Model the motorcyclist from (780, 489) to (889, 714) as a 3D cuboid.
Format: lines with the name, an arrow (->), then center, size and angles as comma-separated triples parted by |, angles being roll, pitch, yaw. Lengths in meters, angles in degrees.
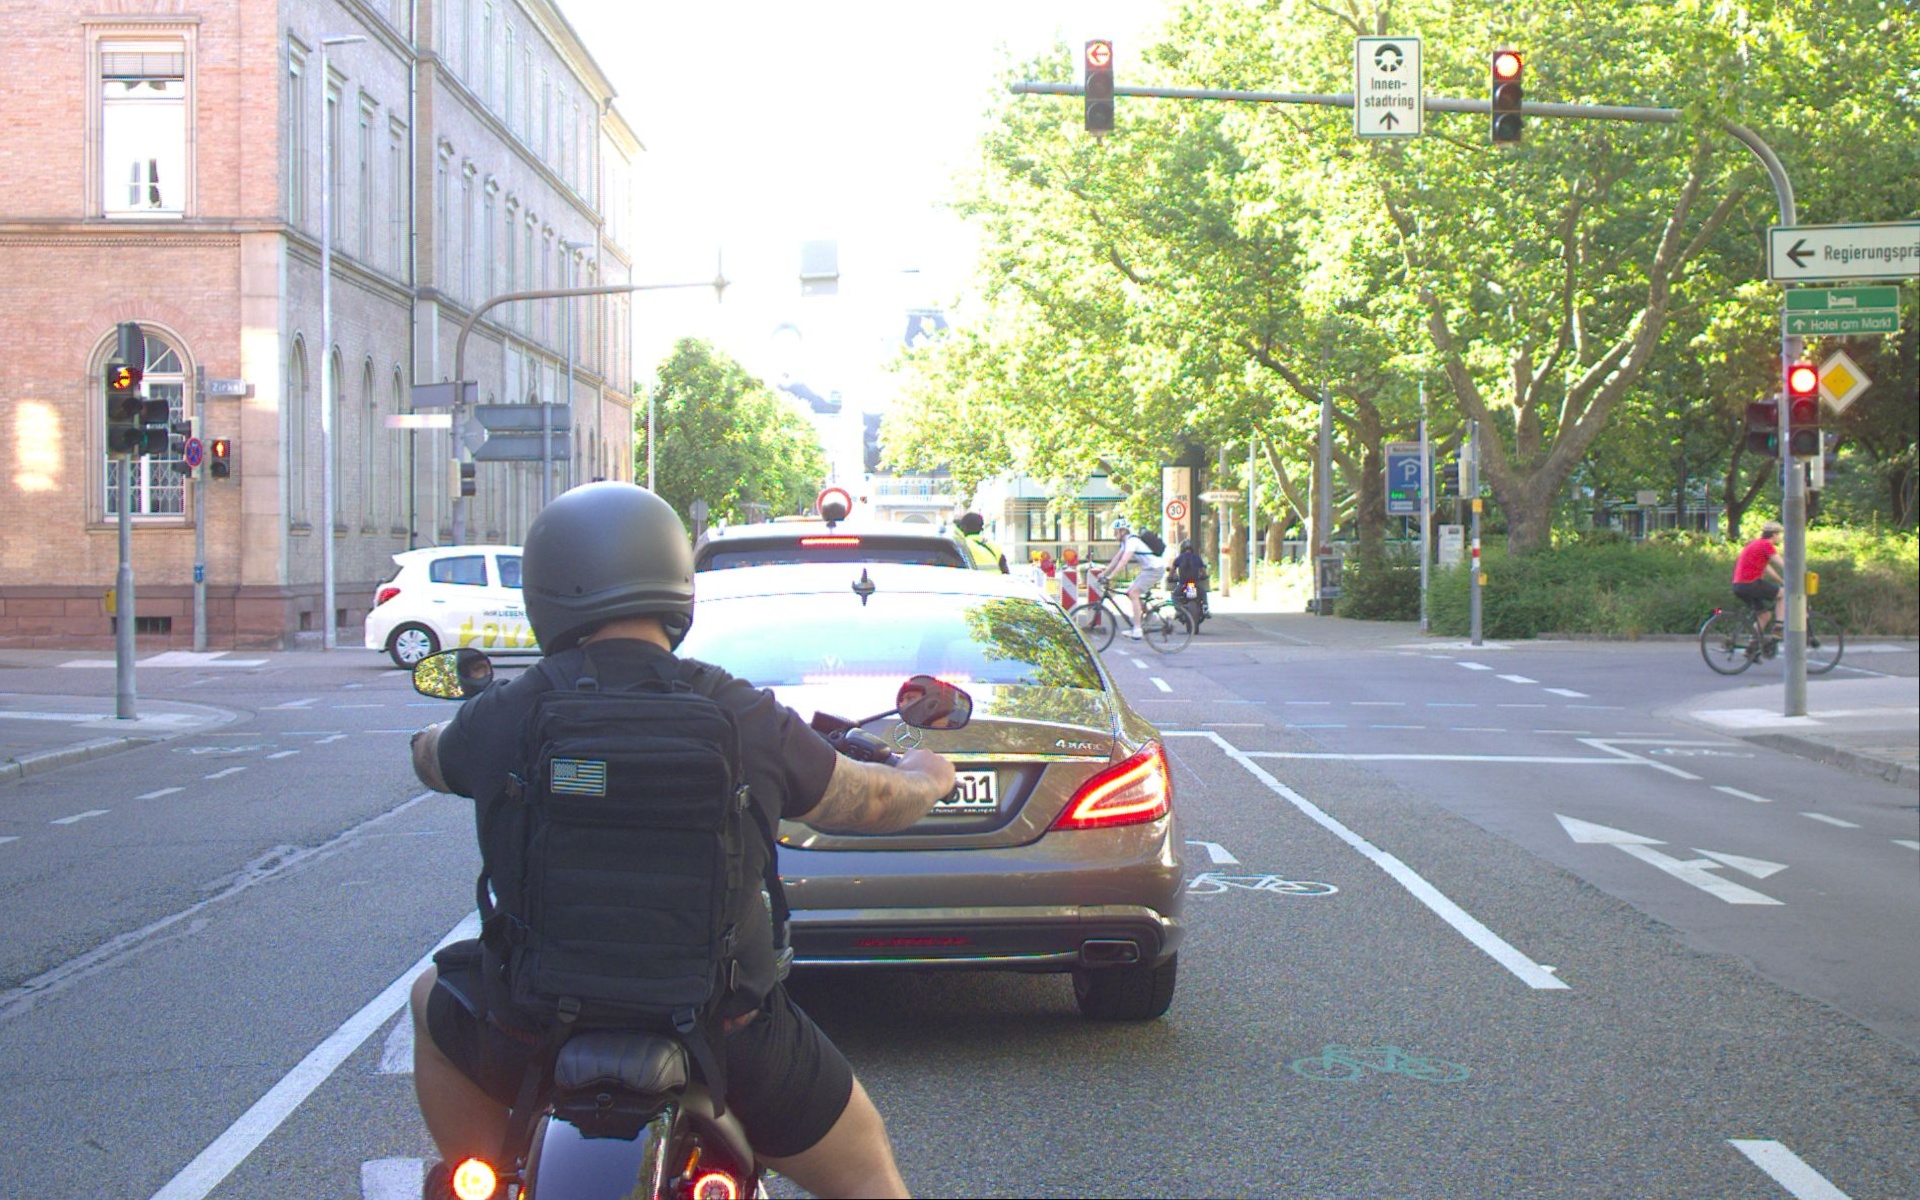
motorcyclist -> -1.008, 0.007, 27.805 | 0.831, 1.782, 0.913 | 1, 0, -1

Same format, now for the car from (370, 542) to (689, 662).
car -> -5.150, 0.023, 41.370 | 3.744, 1.413, 1.440 | 0, 1, -6

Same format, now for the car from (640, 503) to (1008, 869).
car -> -0.640, 0.370, 17.668 | 1.651, 1.646, 4.000 | 1, 1, -1

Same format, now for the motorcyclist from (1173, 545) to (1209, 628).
motorcyclist -> 4.309, -0.252, 64.123 | 0.643, 1.532, 0.943 | 1, 0, 4

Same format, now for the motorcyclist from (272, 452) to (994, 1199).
motorcyclist -> -0.465, 0.599, 5.339 | 0.990, 1.605, 1.120 | 1, 0, -1

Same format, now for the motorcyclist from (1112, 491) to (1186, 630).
motorcyclist -> 2.556, -0.537, 46.448 | 0.983, 1.870, 0.376 | 0, 0, 4

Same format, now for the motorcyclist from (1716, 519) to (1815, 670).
motorcyclist -> 9.271, -0.066, 39.592 | 0.985, 1.716, 0.551 | 1, 0, -1

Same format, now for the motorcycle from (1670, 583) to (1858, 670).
motorcycle -> 9.257, 0.301, 39.594 | 2.012, 0.958, 0.580 | 1, 0, -1

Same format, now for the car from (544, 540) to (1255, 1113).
car -> -0.406, 0.570, 11.139 | 1.824, 1.481, 4.334 | 1, 1, -7

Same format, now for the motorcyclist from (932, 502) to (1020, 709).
motorcyclist -> 0.133, 0.042, 29.242 | 0.717, 1.737, 0.751 | 1, 0, -1

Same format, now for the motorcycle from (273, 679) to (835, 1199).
motorcycle -> -0.561, 0.781, 5.434 | 0.660, 1.236, 2.058 | 1, 1, -1

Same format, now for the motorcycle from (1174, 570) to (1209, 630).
motorcycle -> 4.306, -0.010, 63.935 | 0.626, 1.093, 2.087 | 1, 1, 4

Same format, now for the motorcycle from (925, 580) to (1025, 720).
motorcycle -> 0.113, 0.405, 29.238 | 0.797, 1.128, 2.236 | 1, 1, -1

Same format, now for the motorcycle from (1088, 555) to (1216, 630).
motorcycle -> 2.594, -0.100, 46.493 | 1.719, 0.998, 0.416 | 0, 1, 4
